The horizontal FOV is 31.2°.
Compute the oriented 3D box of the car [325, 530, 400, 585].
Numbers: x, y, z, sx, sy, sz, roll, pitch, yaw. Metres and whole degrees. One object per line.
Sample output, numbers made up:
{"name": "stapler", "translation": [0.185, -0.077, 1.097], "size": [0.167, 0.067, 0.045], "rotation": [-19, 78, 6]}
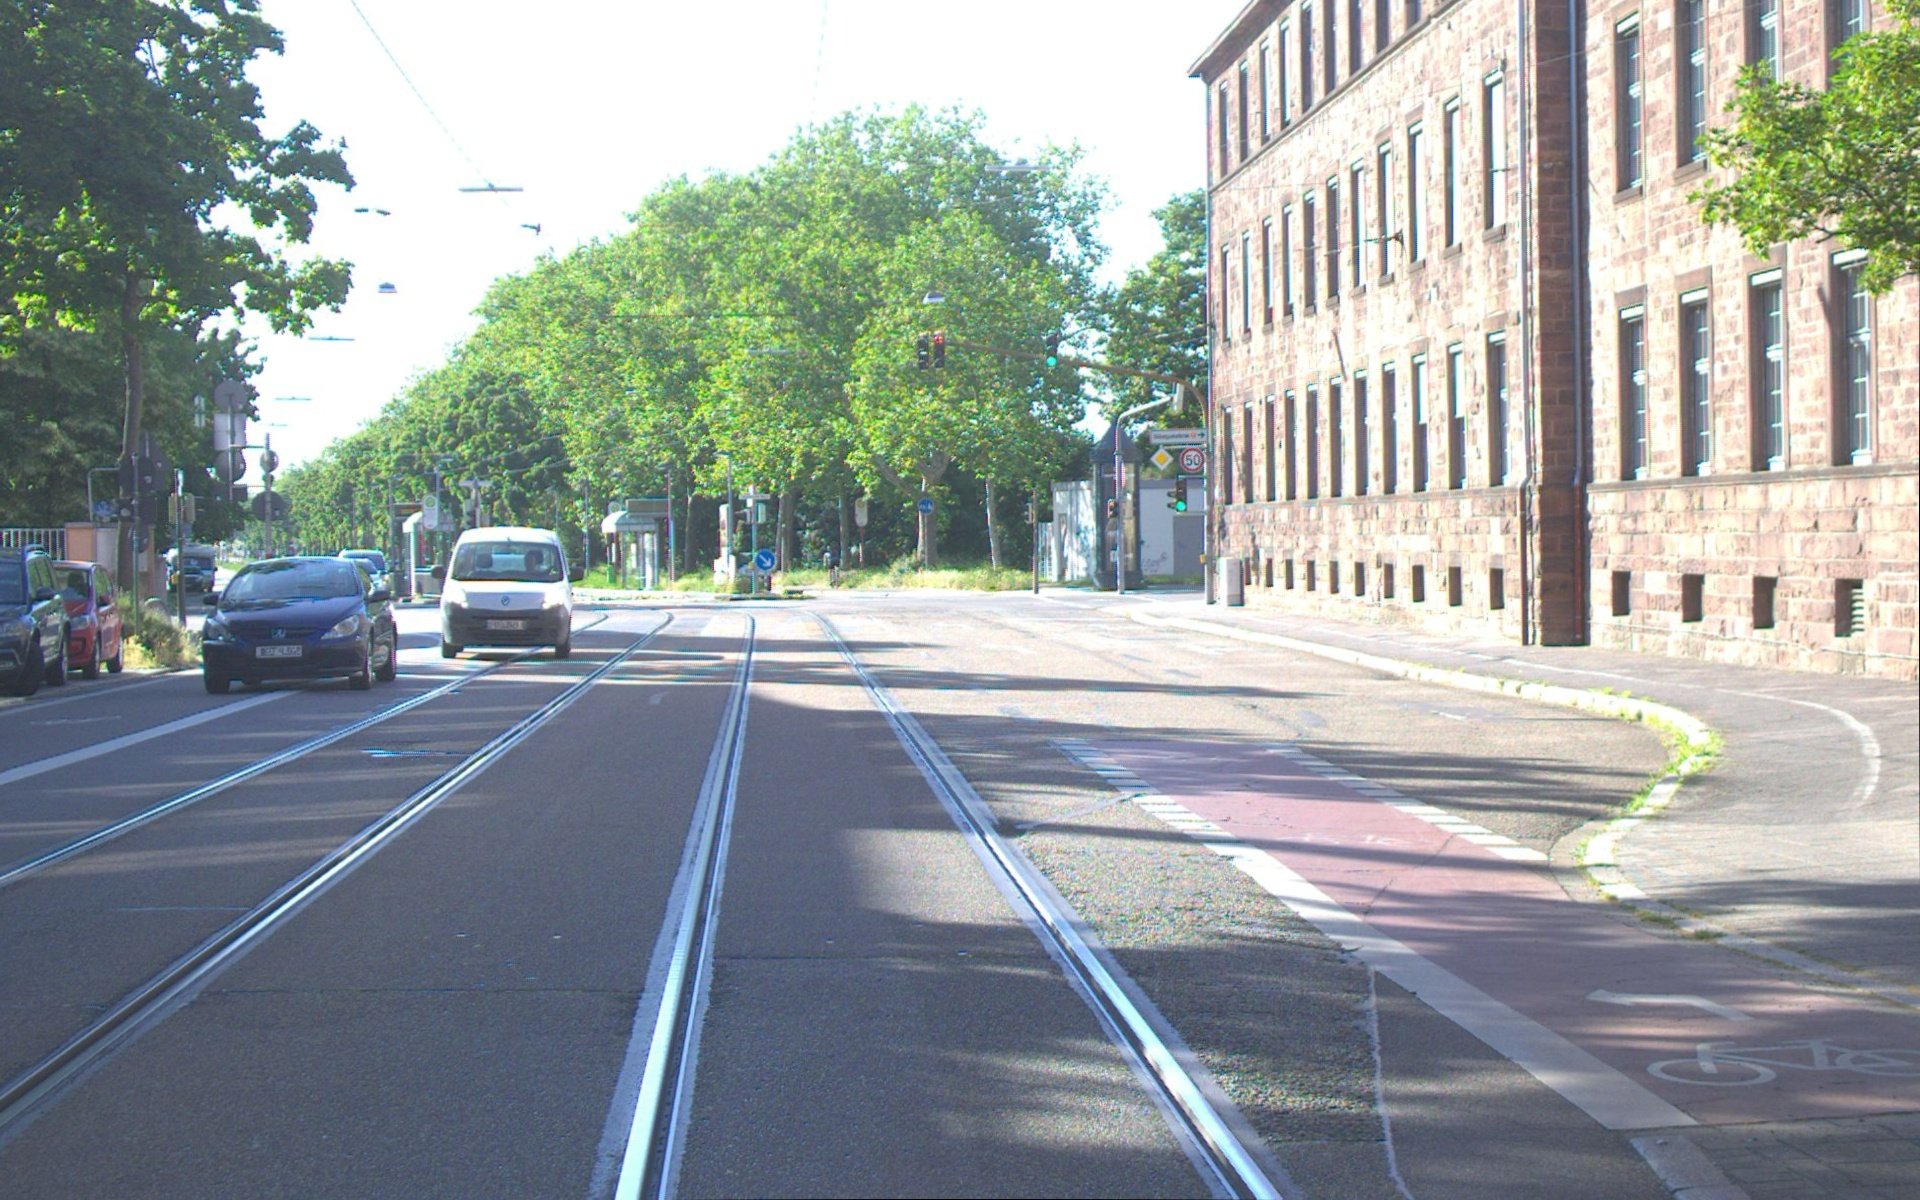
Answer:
{"name": "car", "translation": [-19.902, -1.431, 114.427], "size": [1.993, 1.754, 4.001], "rotation": [-1, 1, -16]}

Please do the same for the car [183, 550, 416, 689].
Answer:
{"name": "car", "translation": [-7.155, 0.165, 37.619], "size": [1.809, 1.382, 4.441], "rotation": [-1, 1, -2]}

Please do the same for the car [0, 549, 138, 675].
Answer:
{"name": "car", "translation": [-11.535, 0.124, 43.991], "size": [1.581, 1.483, 3.614], "rotation": [2, 1, -7]}

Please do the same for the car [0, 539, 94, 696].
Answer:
{"name": "car", "translation": [-11.108, 0.146, 39.405], "size": [1.745, 1.655, 4.392], "rotation": [2, 1, -7]}

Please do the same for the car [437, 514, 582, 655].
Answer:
{"name": "car", "translation": [-6.329, -0.260, 48.690], "size": [1.809, 1.882, 4.441], "rotation": [-1, 1, -5]}

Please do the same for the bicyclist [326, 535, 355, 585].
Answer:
{"name": "bicyclist", "translation": [-18.805, -1.203, 104.348], "size": [0.749, 1.499, 0.964], "rotation": [-1, 1, -18]}

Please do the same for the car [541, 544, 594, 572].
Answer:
{"name": "car", "translation": [-22.698, -2.437, 198.560], "size": [1.942, 1.605, 4.001], "rotation": [-1, 1, -24]}

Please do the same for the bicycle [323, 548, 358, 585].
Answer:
{"name": "bicycle", "translation": [-18.806, -1.019, 104.359], "size": [0.749, 1.083, 2.178], "rotation": [-1, 1, -18]}
